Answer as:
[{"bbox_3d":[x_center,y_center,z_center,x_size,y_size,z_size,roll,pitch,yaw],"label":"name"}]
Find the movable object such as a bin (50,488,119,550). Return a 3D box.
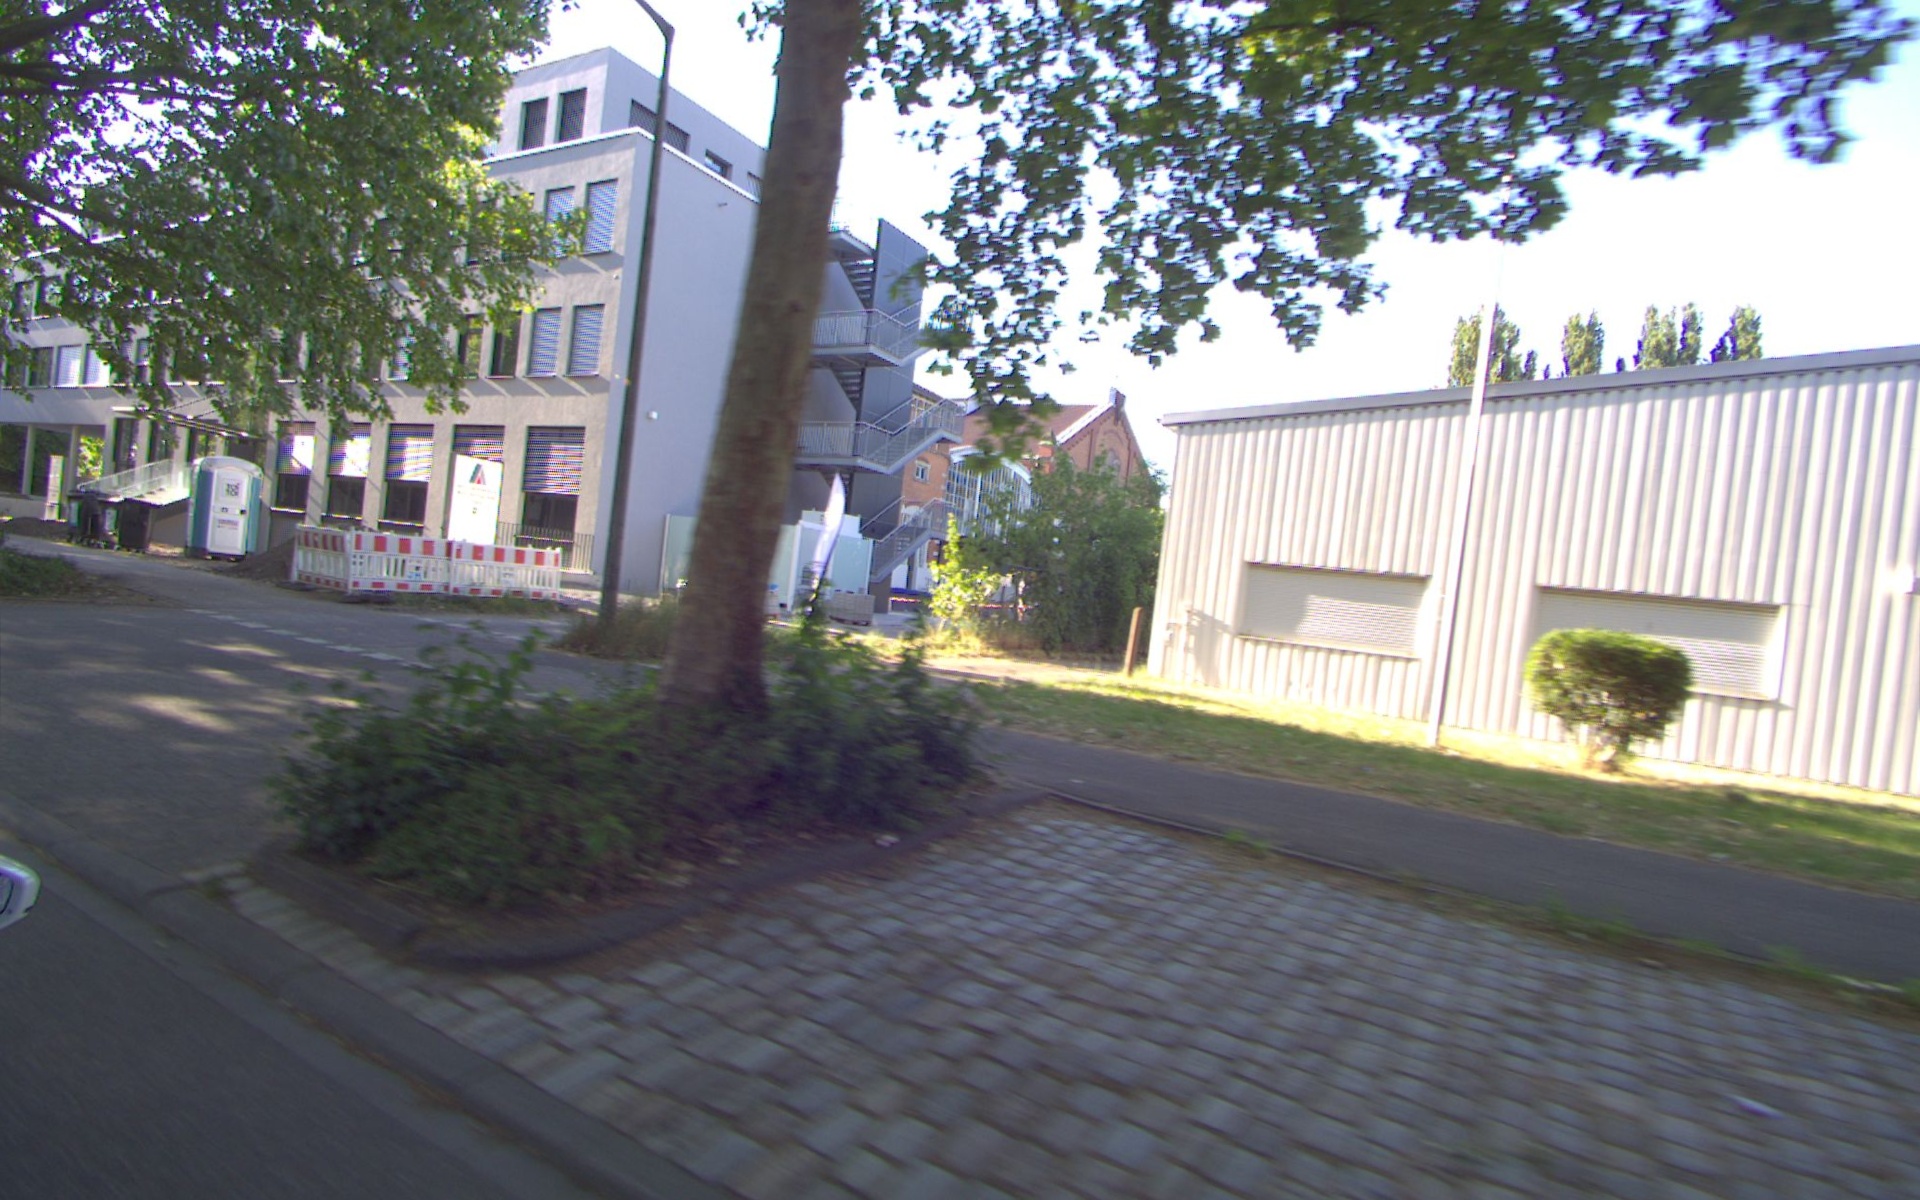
[{"bbox_3d":[-21.657,-2.004,24.882,1.594,1.366,0.749,6,-1,32],"label":"movable object such as a bin"}]

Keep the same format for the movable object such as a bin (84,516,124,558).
[{"bbox_3d":[-20.731,-1.527,24.363,0.589,0.911,0.493,6,-1,30],"label":"movable object such as a bin"}]

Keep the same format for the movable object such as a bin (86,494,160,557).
[{"bbox_3d":[-19.412,-1.737,23.327,1.585,1.278,0.749,6,-1,32],"label":"movable object such as a bin"}]

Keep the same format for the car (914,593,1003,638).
[{"bbox_3d":[-0.082,0.788,51.901,3.933,1.769,1.998,6,-2,31],"label":"car"}]
